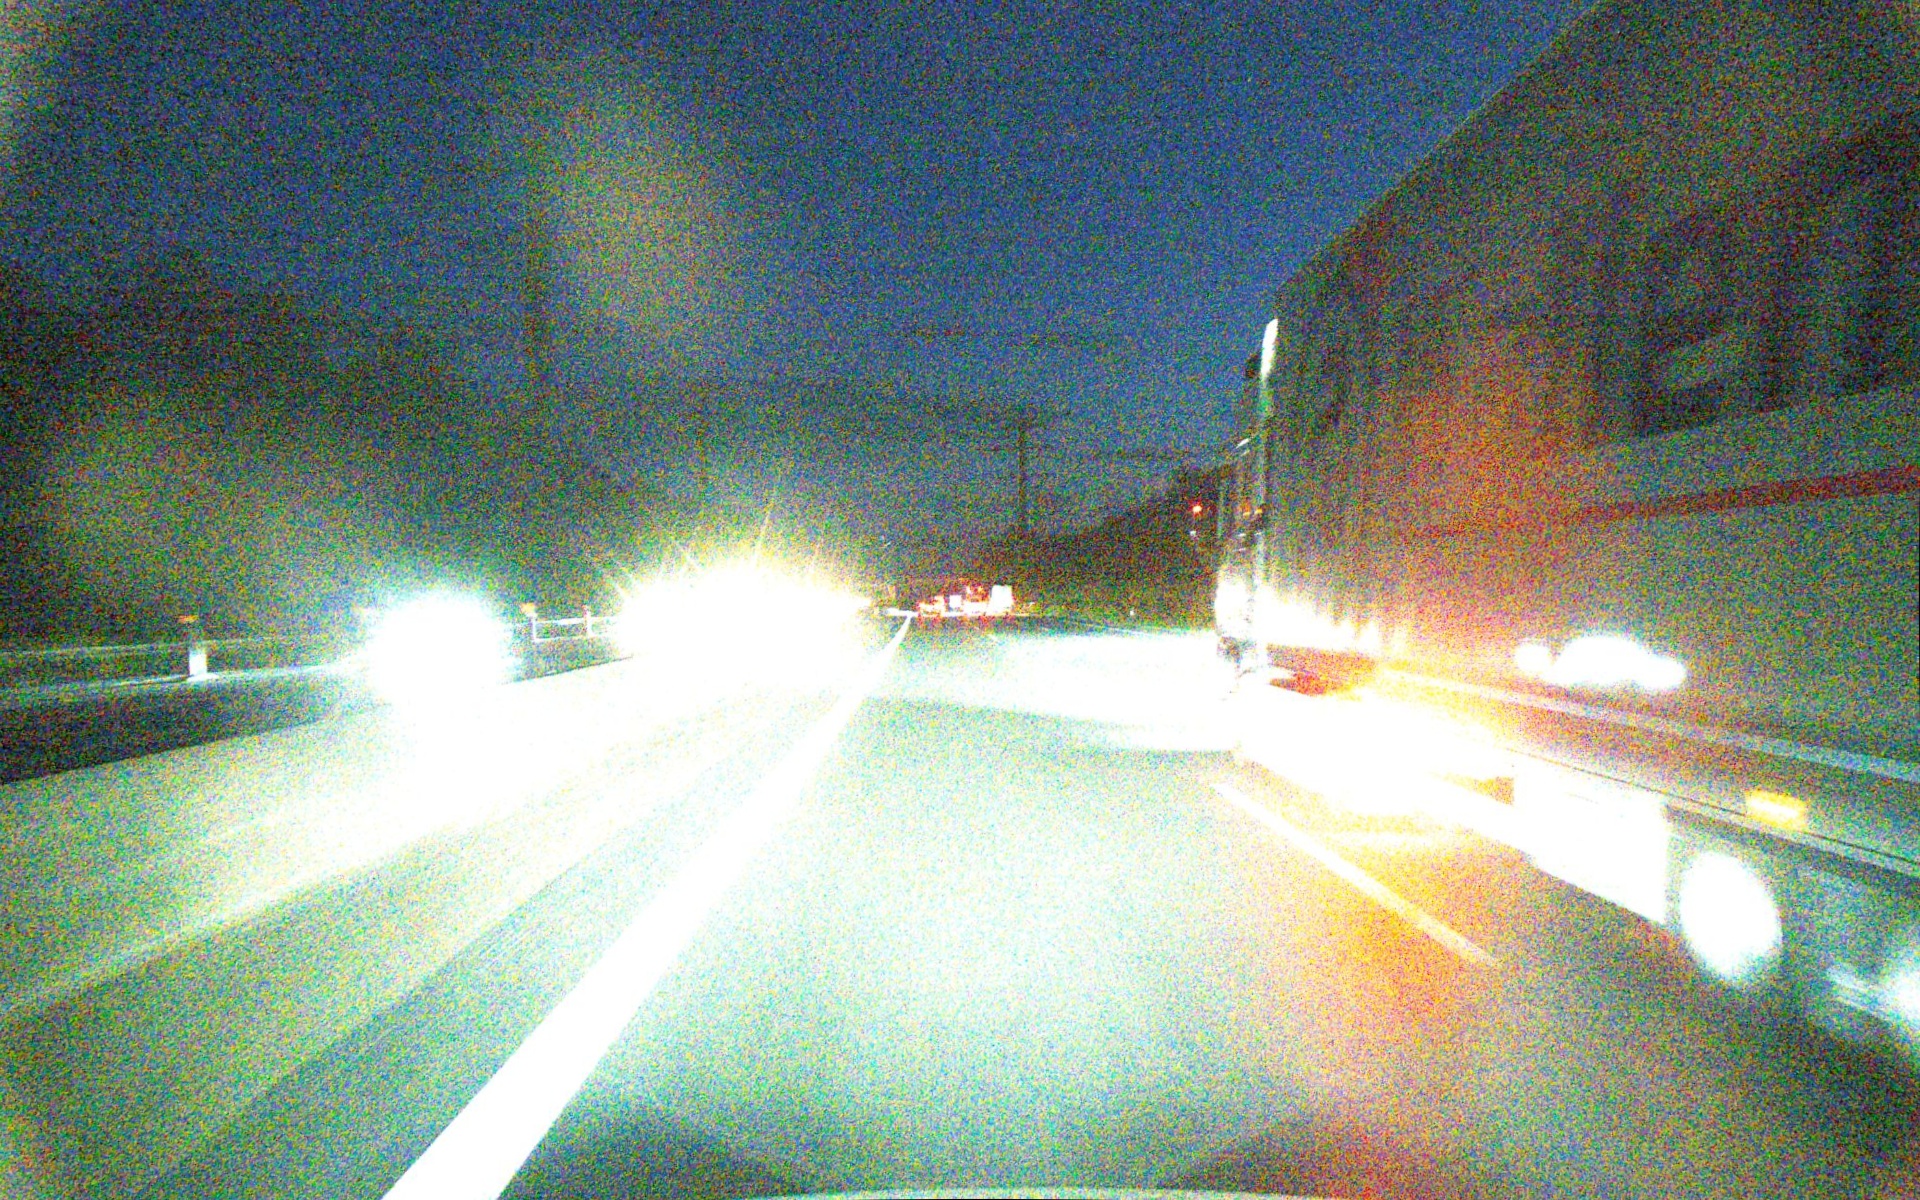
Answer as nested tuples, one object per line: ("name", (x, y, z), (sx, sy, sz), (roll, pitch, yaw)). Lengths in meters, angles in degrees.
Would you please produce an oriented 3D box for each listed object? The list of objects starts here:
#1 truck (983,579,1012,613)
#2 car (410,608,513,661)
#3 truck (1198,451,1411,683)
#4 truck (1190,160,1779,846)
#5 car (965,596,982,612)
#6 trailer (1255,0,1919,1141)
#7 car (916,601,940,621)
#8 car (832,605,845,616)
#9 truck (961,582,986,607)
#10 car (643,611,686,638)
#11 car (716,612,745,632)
("truck", (3.479, -0.333, 155.516), (2.035, 2.738, 7.301), (2, -3, -4))
("car", (-15.352, 1.015, 51.174), (1.714, 1.504, 4.725), (-1, 0, 0))
("truck", (6.858, -0.591, 34.076), (2.538, 4.143, 7.671), (2, 0, -1))
("truck", (3.814, -0.605, 13.885), (2.608, 4.280, 6.721), (2, 0, -1))
("car", (1.146, 0.349, 143.868), (1.319, 1.411, 3.500), (2, 0, -2))
("trailer", (3.949, -0.630, 6.849), (2.687, 4.280, 13.507), (2, 0, -1))
("car", (-2.570, 0.886, 131.188), (1.784, 1.492, 4.246), (2, 0, -2))
("car", (-17.536, 1.489, 239.723), (1.715, 1.504, 4.579), (-1, 0, -3))
("truck", (1.928, -0.797, 235.070), (2.983, 3.383, 10.137), (2, 0, -2))
("car", (-15.743, 1.290, 88.206), (1.629, 1.357, 4.807), (-1, 0, -3))
("car", (-16.586, 1.575, 119.688), (1.599, 1.419, 4.875), (-1, 0, -2))
